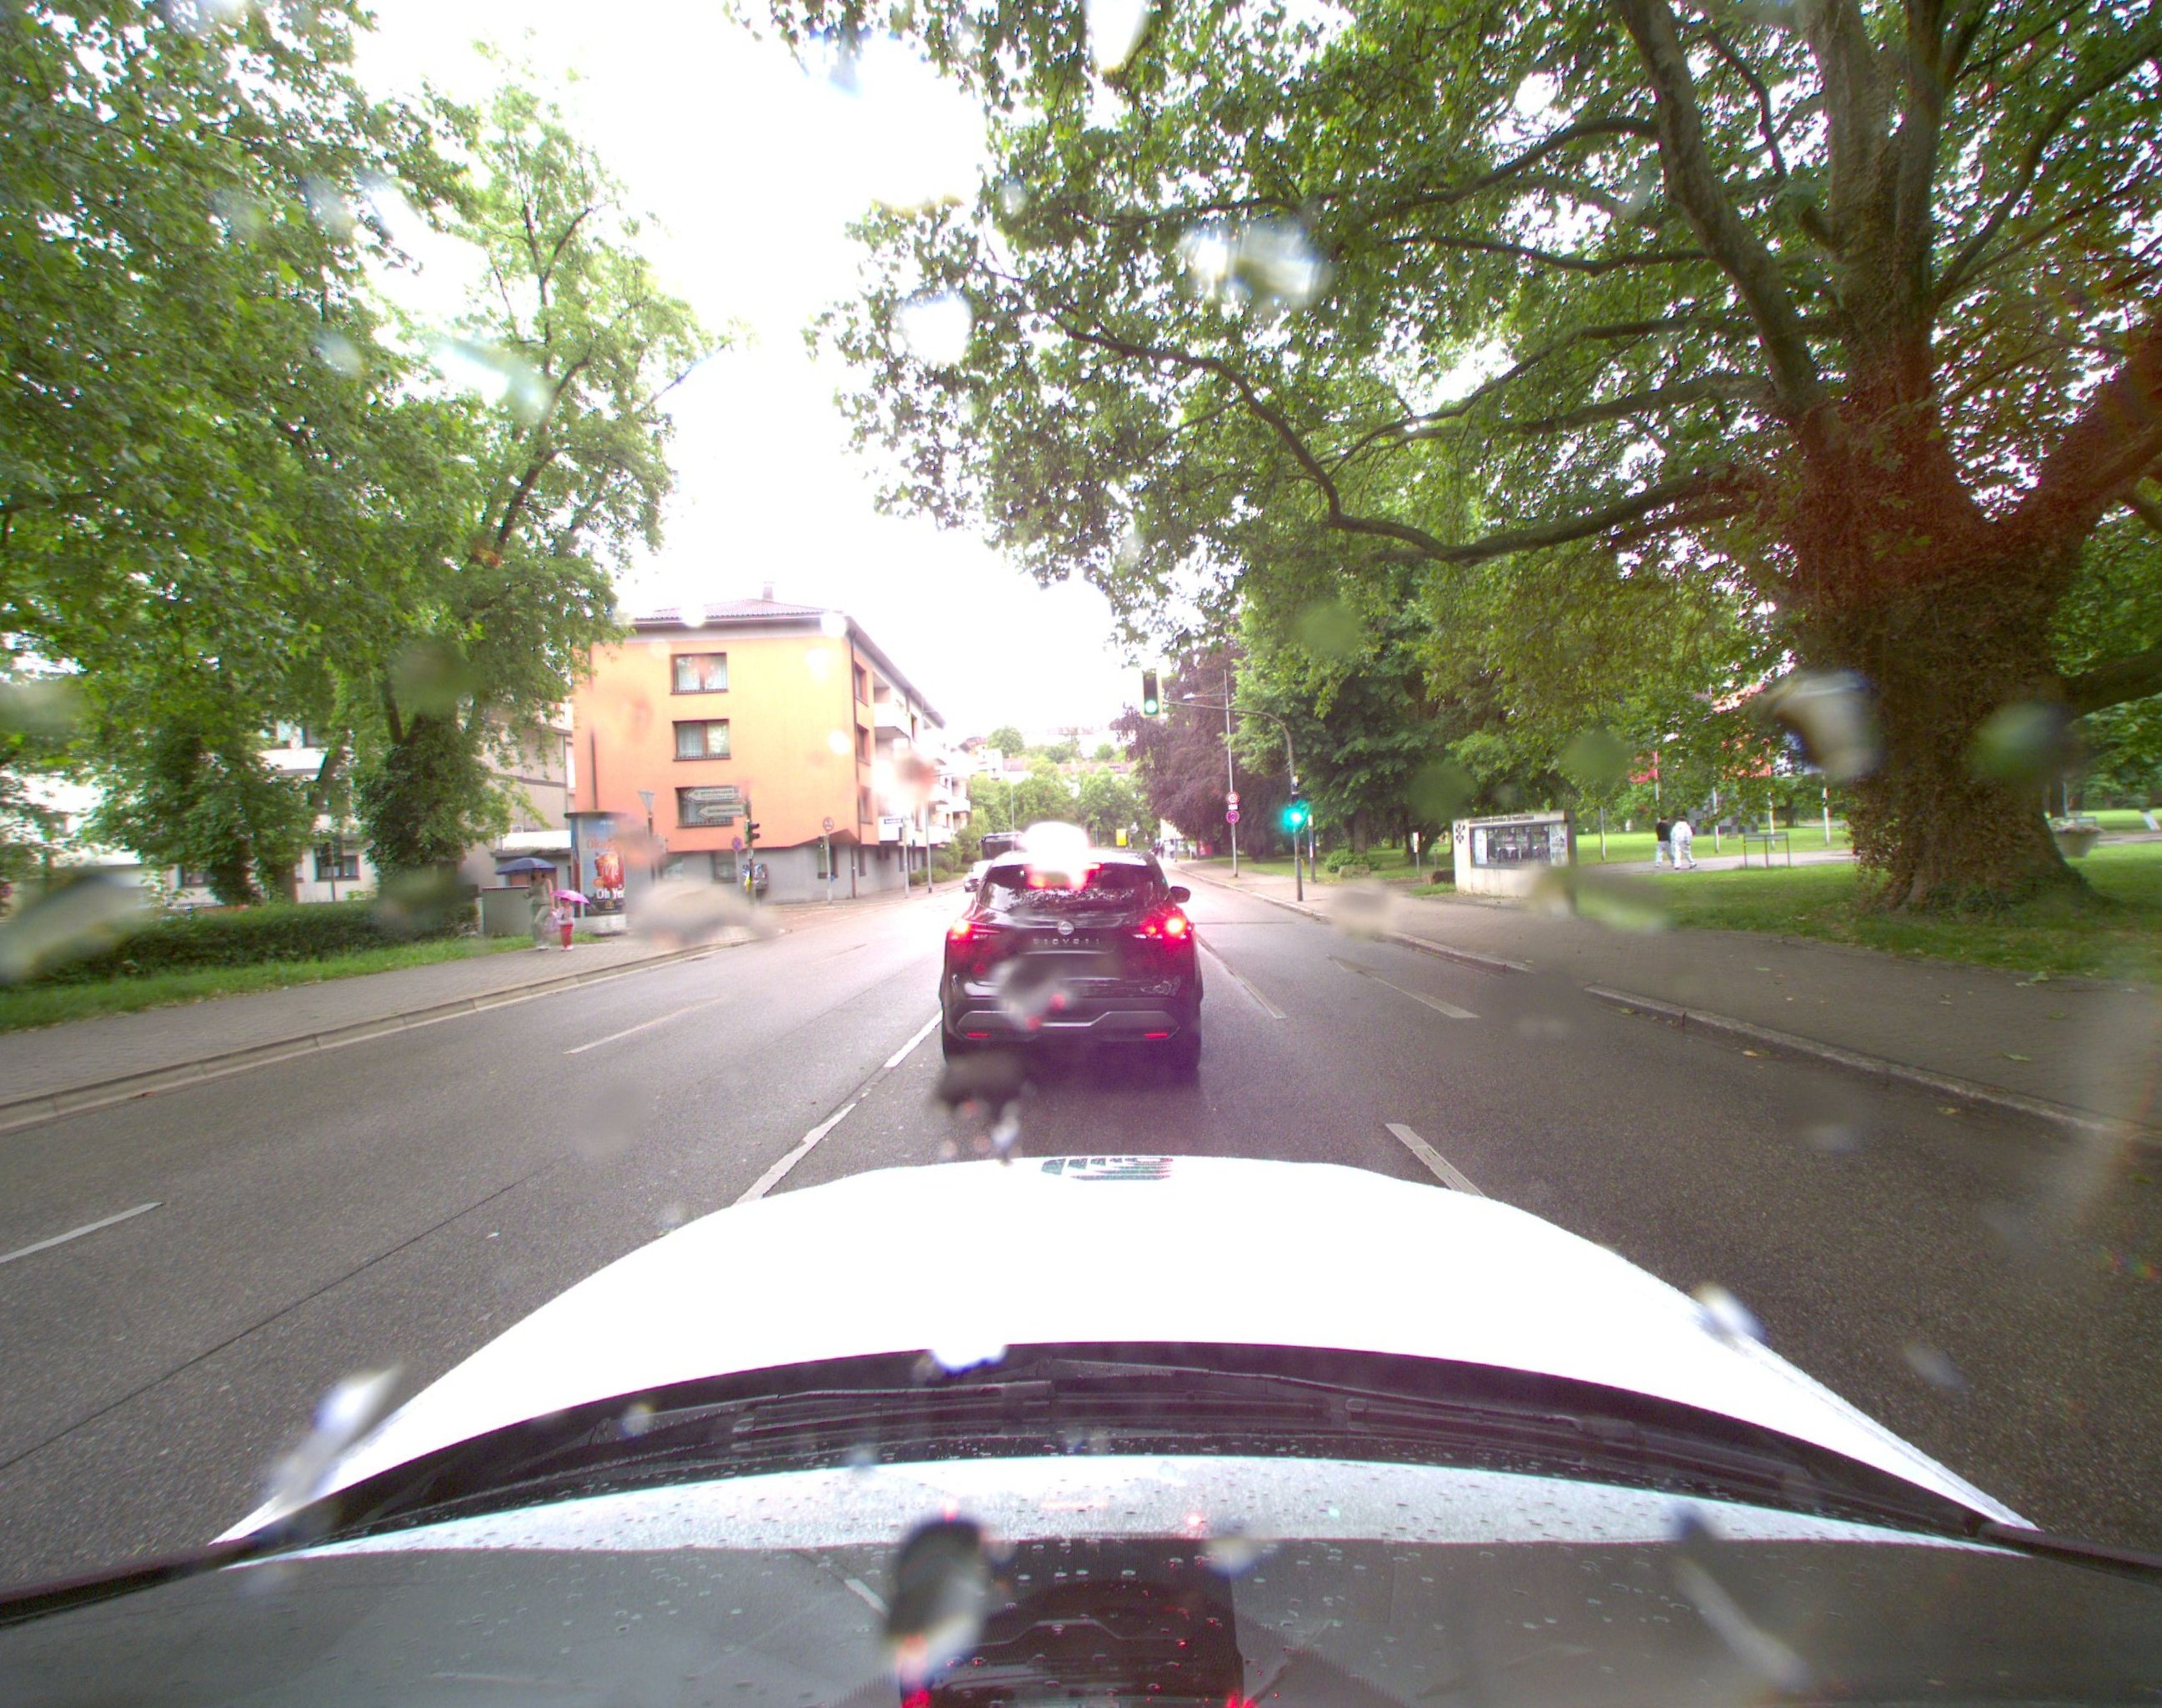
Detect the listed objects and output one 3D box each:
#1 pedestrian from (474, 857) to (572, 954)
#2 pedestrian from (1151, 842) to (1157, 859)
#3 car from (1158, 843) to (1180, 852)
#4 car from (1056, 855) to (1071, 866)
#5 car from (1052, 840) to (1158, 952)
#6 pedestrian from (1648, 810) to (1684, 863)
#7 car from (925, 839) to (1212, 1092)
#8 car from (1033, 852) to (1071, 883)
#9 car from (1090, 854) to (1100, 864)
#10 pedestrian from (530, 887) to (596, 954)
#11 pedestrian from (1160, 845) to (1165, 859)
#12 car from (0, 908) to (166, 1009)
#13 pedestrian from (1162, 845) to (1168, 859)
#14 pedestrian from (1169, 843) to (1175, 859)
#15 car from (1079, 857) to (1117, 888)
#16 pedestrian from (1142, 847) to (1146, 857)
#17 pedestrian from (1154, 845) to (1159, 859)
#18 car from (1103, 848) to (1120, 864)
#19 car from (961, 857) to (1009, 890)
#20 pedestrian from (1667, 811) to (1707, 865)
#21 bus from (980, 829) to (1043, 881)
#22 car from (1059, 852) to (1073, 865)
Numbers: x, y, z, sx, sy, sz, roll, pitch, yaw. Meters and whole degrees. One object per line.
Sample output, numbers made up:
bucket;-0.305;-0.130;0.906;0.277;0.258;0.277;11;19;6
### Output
pedestrian;-10.531;0.939;15.411;0.988;1.742;1.210;-1;0;1
pedestrian;9.664;-0.494;108.218;0.764;2.183;0.712;0;-1;5
car;17.800;-1.286;164.291;3.986;1.684;1.994;-3;0;-9
car;-2.340;0.894;109.538;1.671;1.296;3.752;-4;0;1
car;0.497;0.676;15.033;1.615;1.709;3.774;-3;0;3
pedestrian;19.692;-0.588;27.410;0.663;1.756;0.722;0;-1;-7
car;-0.019;0.720;7.144;1.799;1.590;4.001;0;-1;2
car;-1.459;0.678;41.967;1.618;1.415;3.456;-3;0;2
car;2.796;0.978;164.044;1.986;2.014;4.001;0;-1;2
pedestrian;-9.644;1.222;15.198;0.681;1.175;0.827;-1;0;1
pedestrian;9.617;-0.216;96.054;0.513;1.655;0.550;0;-1;1
car;-18.005;1.736;13.820;3.182;1.524;1.507;0;-1;-1
pedestrian;10.053;-0.282;97.416;0.696;1.651;0.628;0;-1;2
pedestrian;10.869;-0.371;97.136;0.616;1.779;0.779;-3;0;1
car;0.866;0.914;41.238;1.802;1.417;4.031;-2;0;1
pedestrian;13.305;-0.496;173.020;0.696;2.013;0.583;-3;0;1
pedestrian;9.022;-0.274;97.501;0.542;1.651;0.490;0;-1;2
car;3.160;0.191;83.286;1.618;1.415;3.456;-3;0;2
car;-4.797;0.965;41.286;1.802;1.417;4.031;-4;0;1
pedestrian;19.421;-0.501;26.113;0.663;1.712;0.788;0;-1;-7
bus;-4.428;0.073;54.697;2.756;2.974;11.786;-3;0;2
car;-2.105;0.651;118.719;1.743;1.633;3.636;-3;0;2
